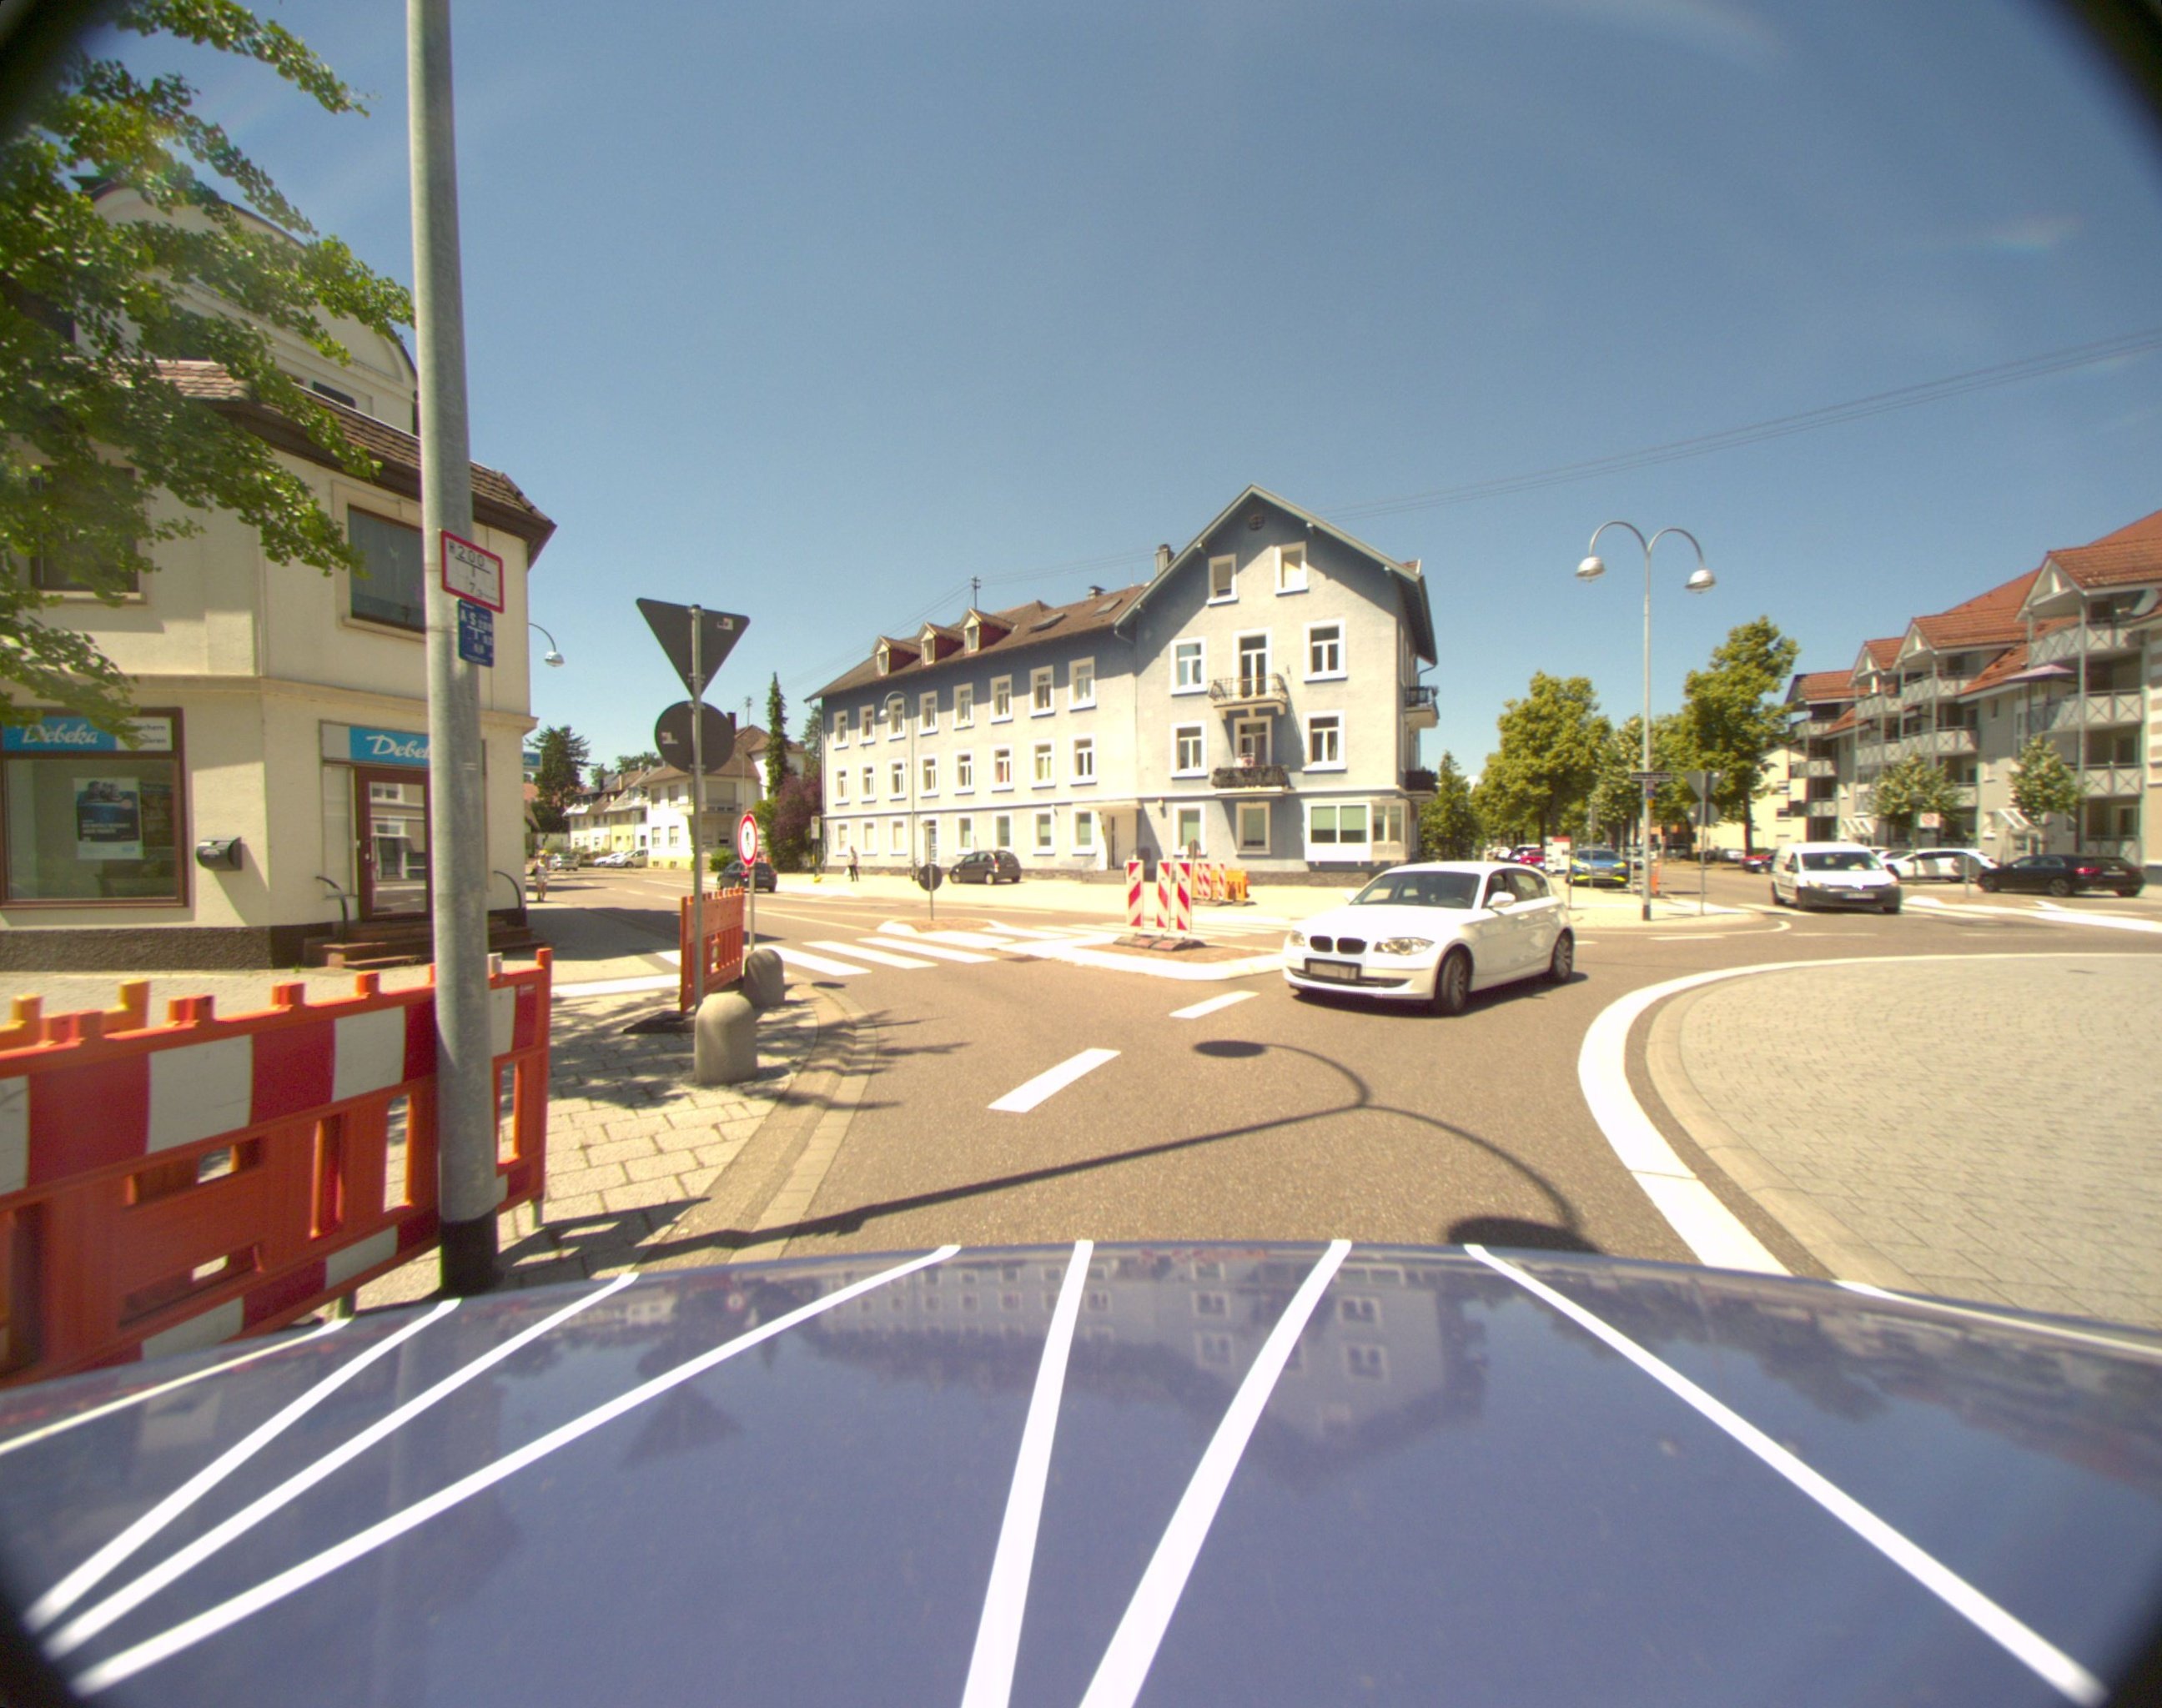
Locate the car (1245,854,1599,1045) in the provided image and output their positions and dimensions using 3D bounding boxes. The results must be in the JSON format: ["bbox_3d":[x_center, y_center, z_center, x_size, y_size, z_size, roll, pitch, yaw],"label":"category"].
[{"bbox_3d":[3.890,0.817,8.400,4.136,1.542,1.782,-1,1,-37],"label":"car"}]

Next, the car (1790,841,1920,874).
[{"bbox_3d":[40.391,0.168,39.808,4.361,1.660,1.986,0,0,27],"label":"car"}]

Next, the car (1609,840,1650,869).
[{"bbox_3d":[40.629,-0.009,56.338,1.994,2.003,4.006,0,3,29],"label":"car"}]

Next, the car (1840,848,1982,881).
[{"bbox_3d":[39.012,0.452,35.875,4.071,1.483,1.986,0,0,27],"label":"car"}]

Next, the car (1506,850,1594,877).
[{"bbox_3d":[25.955,0.507,42.223,4.021,1.352,1.663,0,4,28],"label":"car"}]

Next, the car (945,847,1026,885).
[{"bbox_3d":[-4.373,0.511,34.611,3.763,1.526,1.586,2,3,43],"label":"car"}]

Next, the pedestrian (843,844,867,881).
[{"bbox_3d":[-11.605,0.409,39.065,0.769,1.838,0.759,0,5,41],"label":"pedestrian"}]

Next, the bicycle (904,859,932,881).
[{"bbox_3d":[-7.988,0.772,37.172,0.498,0.972,1.967,-7,6,-37],"label":"bicycle"}]

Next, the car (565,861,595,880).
[{"bbox_3d":[-44.450,1.496,67.490,1.847,1.520,4.384,4,-5,-29],"label":"car"}]

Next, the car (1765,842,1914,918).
[{"bbox_3d":[19.904,0.593,20.162,1.776,1.767,4.251,0,1,31],"label":"car"}]

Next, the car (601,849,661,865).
[{"bbox_3d":[-42.333,0.287,71.596,1.970,1.486,4.496,0,-1,44],"label":"car"}]

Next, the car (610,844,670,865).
[{"bbox_3d":[-40.558,0.103,69.916,1.845,1.866,4.375,0,-1,36],"label":"car"}]

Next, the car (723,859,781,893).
[{"bbox_3d":[-15.122,0.956,34.824,1.668,1.443,4.012,1,0,-35],"label":"car"}]

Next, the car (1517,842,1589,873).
[{"bbox_3d":[31.473,0.206,50.822,3.989,2.003,2.003,0,3,28],"label":"car"}]

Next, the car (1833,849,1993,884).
[{"bbox_3d":[36.801,0.511,33.795,4.397,1.483,1.986,0,0,27],"label":"car"}]

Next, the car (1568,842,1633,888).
[{"bbox_3d":[21.573,0.384,31.698,1.776,1.767,4.251,0,1,28],"label":"car"}]
